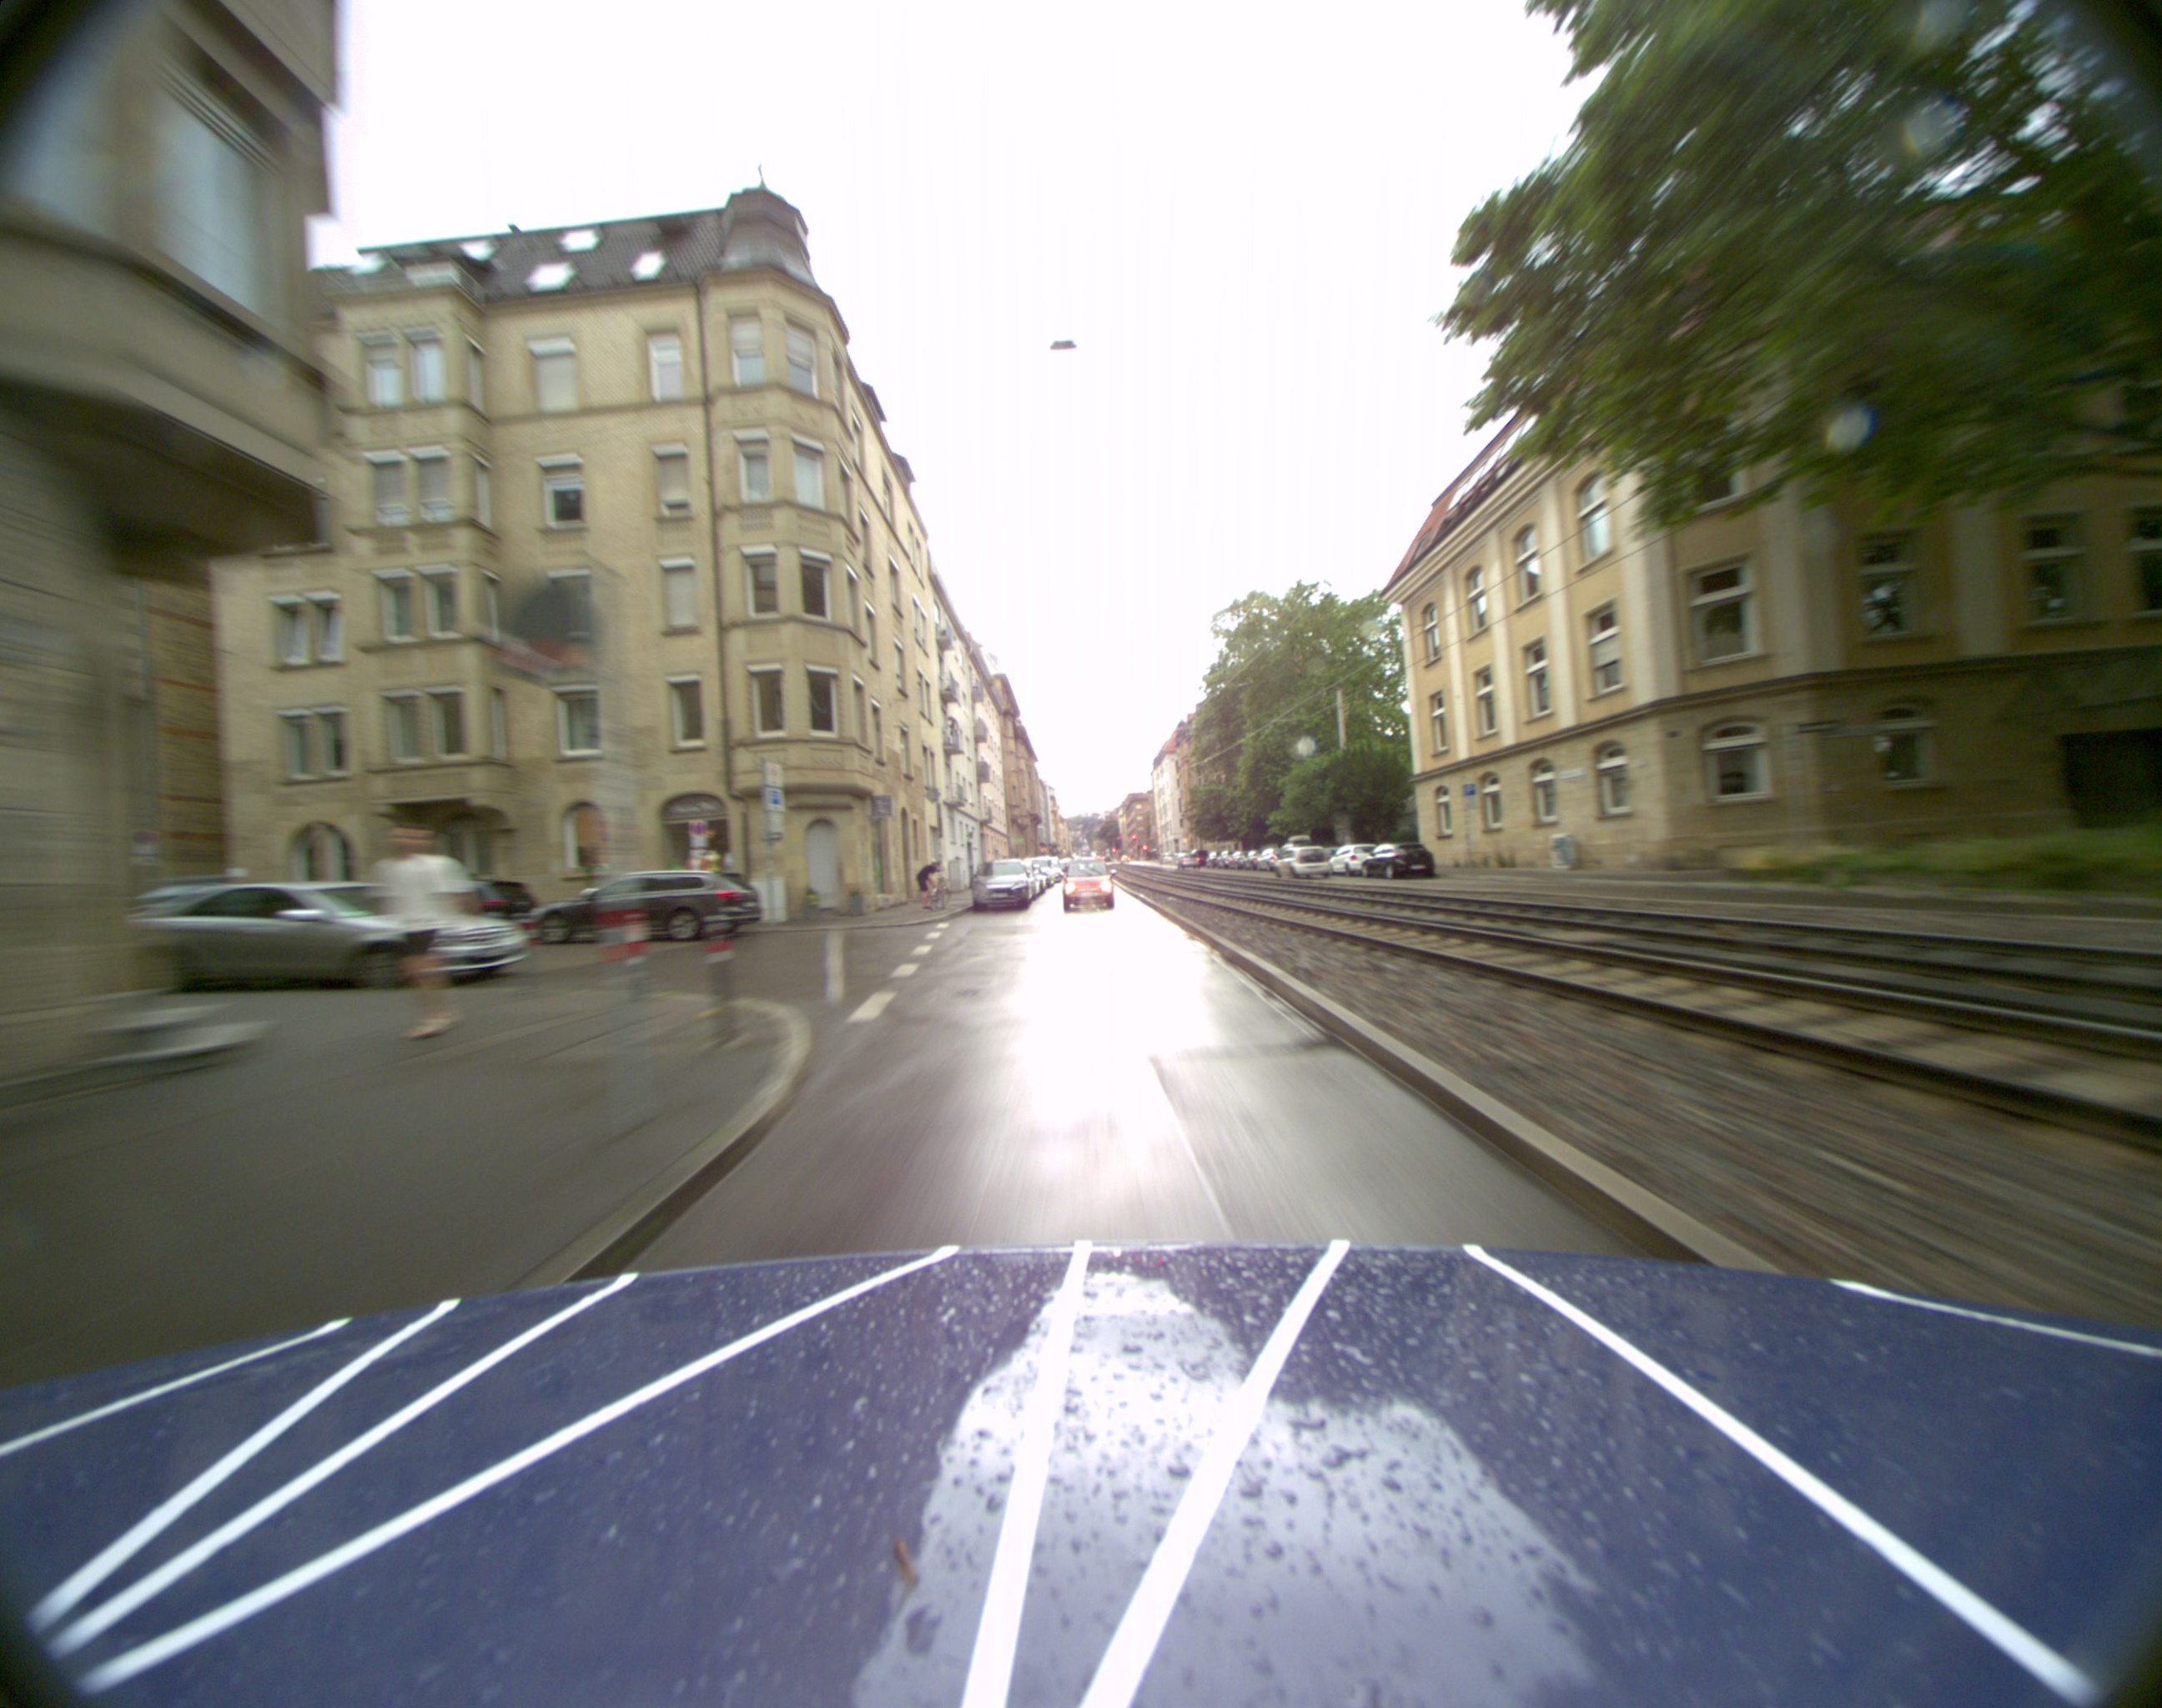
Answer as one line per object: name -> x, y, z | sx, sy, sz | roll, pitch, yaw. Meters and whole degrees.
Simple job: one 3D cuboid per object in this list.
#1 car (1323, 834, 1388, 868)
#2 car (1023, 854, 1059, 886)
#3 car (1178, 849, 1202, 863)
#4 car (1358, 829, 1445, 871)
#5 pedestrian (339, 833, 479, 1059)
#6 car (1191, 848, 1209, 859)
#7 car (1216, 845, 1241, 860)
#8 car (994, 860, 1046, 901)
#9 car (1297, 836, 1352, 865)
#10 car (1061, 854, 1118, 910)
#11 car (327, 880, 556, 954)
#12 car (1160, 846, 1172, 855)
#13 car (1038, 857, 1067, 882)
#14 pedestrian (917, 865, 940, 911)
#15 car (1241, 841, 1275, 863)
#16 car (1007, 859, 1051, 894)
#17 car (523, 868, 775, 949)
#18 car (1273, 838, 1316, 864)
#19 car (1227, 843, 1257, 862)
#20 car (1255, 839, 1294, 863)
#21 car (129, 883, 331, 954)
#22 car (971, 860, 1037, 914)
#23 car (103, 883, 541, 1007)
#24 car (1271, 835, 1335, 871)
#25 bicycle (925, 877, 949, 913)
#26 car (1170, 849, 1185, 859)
car -> 12.713, -0.132, 35.429 | 1.646, 1.392, 3.516 | -4, 0, -1
car -> -2.305, 0.907, 44.400 | 1.745, 1.729, 4.000 | -3, 0, 0
car -> 9.800, 0.168, 68.717 | 1.572, 1.159, 2.909 | -4, 0, -3
car -> 12.924, -0.178, 30.899 | 1.892, 1.468, 3.806 | -5, 1, 1
pedestrian -> -5.488, 0.725, 6.230 | 0.580, 1.741, 0.574 | -2, -1, 1
car -> 12.836, -0.051, 82.184 | 1.326, 1.159, 2.909 | -4, 0, -2
car -> 12.487, -0.119, 64.490 | 1.326, 1.159, 2.909 | -4, 0, -3
car -> -2.475, 1.059, 31.797 | 1.745, 1.507, 4.000 | -3, 0, 0
car -> 12.790, -0.162, 40.100 | 1.646, 1.392, 3.516 | -4, 0, -1
car -> 0.258, 0.870, 24.718 | 1.620, 1.592, 4.067 | -3, -1, 0
car -> -14.243, 1.373, 17.035 | 3.843, 1.440, 1.612 | -2, -2, 3
car -> 12.271, -0.476, 109.990 | 1.326, 1.159, 2.909 | -4, 0, -1
car -> -1.990, 1.069, 53.865 | 1.745, 1.649, 4.000 | -3, 0, 0
pedestrian -> -4.652, 1.029, 23.163 | 0.510, 1.363, 0.404 | -3, 1, -26
car -> 12.737, -0.141, 54.825 | 1.403, 1.499, 3.314 | -4, 0, -3
car -> -2.435, 1.041, 36.420 | 1.745, 1.507, 4.000 | -3, 0, 0
car -> -9.337, 1.174, 16.655 | 4.507, 1.490, 1.780 | -3, -2, 2
car -> 12.744, -0.177, 45.446 | 1.484, 1.392, 3.282 | -4, 0, -2
car -> 12.589, -0.110, 59.591 | 1.403, 1.371, 3.314 | -4, 0, -3
car -> 12.769, -0.201, 50.240 | 1.484, 1.440, 3.499 | -4, 0, -2
car -> -19.257, 1.438, 17.270 | 3.039, 1.434, 1.480 | -2, -2, 3
car -> -2.505, 1.027, 25.567 | 1.745, 1.577, 4.000 | -3, 0, -1
car -> -10.096, 1.175, 10.336 | 4.215, 1.361, 1.798 | -2, 0, 2
car -> 10.229, -0.047, 35.216 | 1.687, 1.469, 3.311 | -5, 1, -4
bicycle -> -4.407, 1.232, 23.298 | 0.339, 1.008, 1.675 | -1, 0, 1
car -> 12.004, -0.042, 94.977 | 1.326, 1.159, 2.909 | -4, 0, -2
